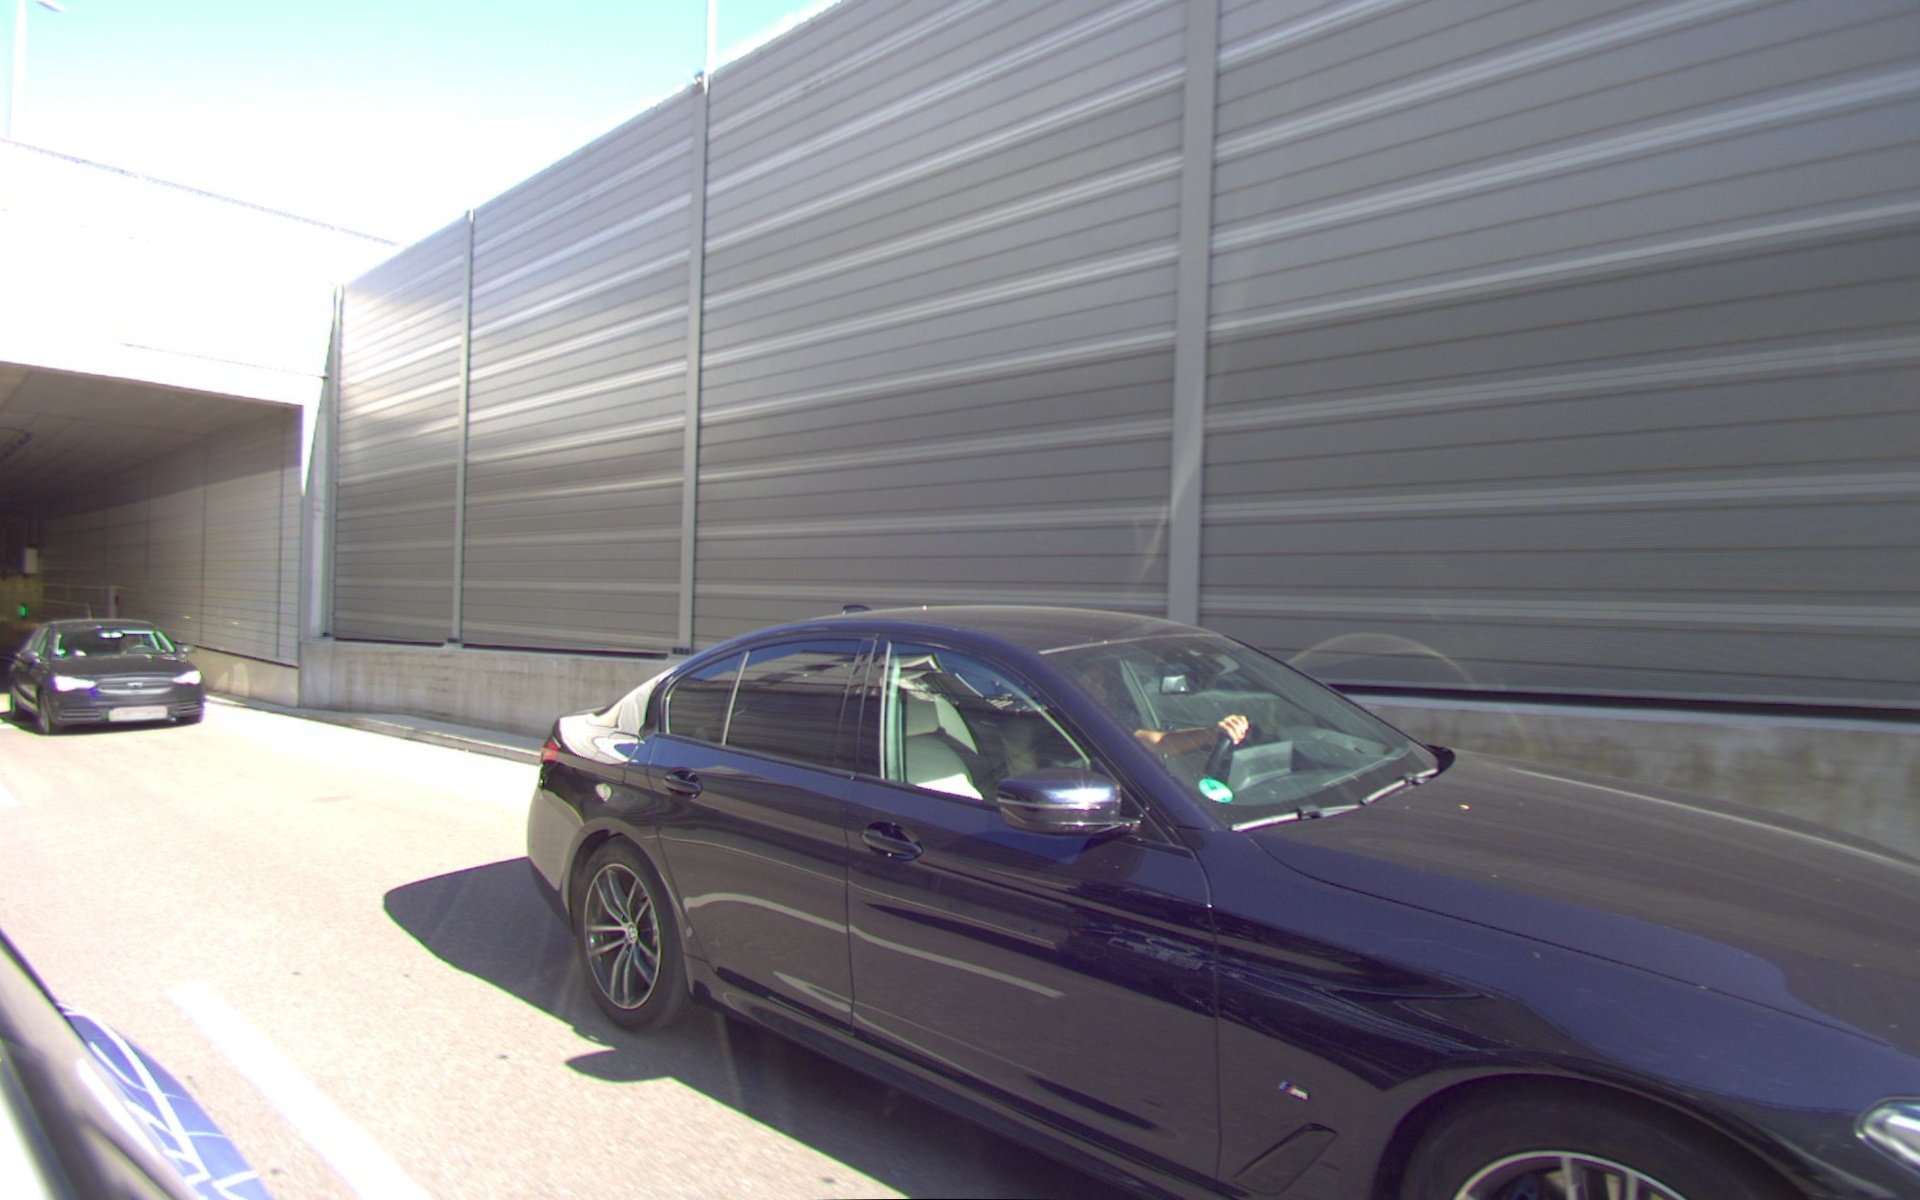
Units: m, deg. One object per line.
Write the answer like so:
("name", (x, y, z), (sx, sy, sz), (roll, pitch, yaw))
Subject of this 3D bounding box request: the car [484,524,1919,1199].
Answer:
("car", (0.564, 0.672, 3.089), (4.999, 1.450, 1.790), (-2, -1, 41))

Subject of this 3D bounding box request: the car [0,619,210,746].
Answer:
("car", (-11.773, 1.002, 13.815), (3.886, 1.429, 1.678), (0, 0, 41))
